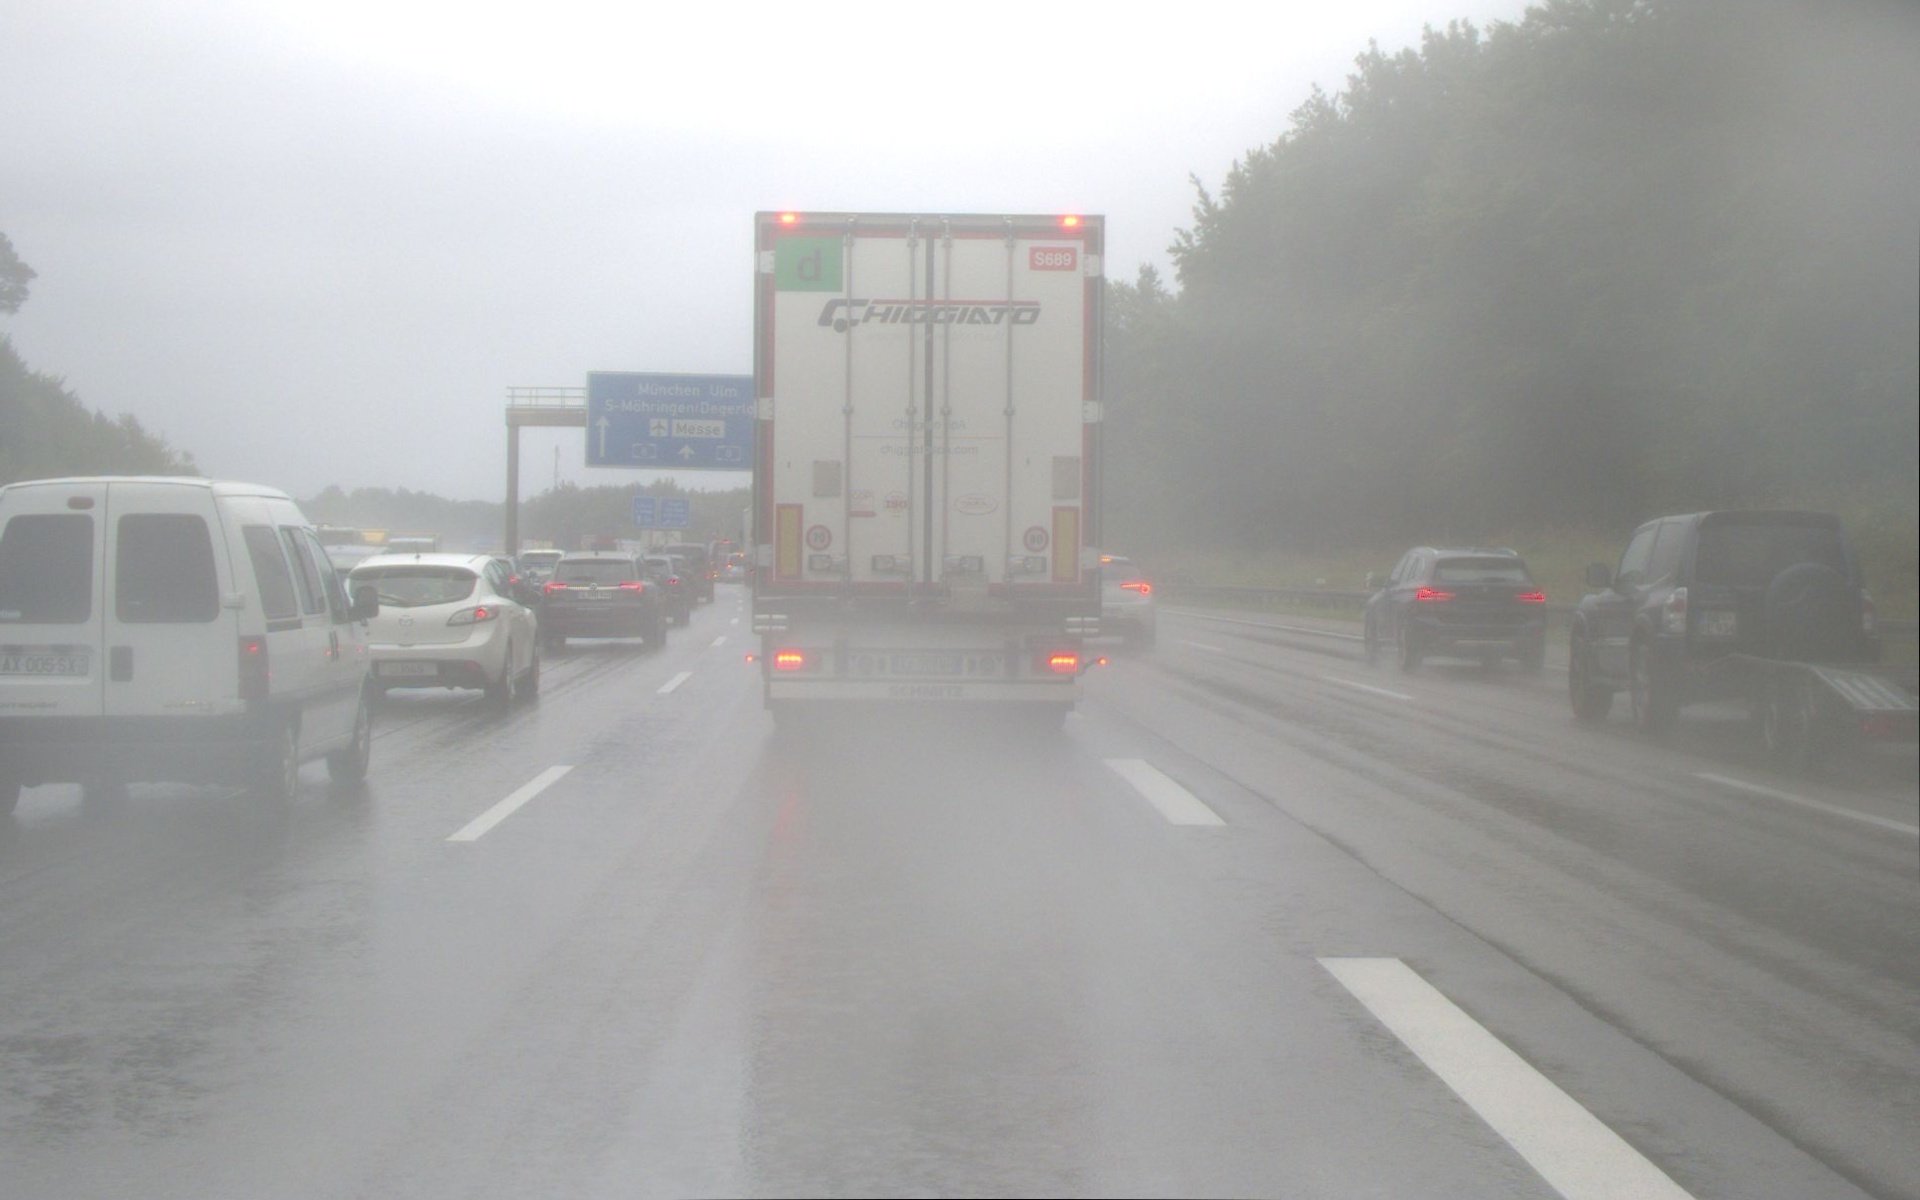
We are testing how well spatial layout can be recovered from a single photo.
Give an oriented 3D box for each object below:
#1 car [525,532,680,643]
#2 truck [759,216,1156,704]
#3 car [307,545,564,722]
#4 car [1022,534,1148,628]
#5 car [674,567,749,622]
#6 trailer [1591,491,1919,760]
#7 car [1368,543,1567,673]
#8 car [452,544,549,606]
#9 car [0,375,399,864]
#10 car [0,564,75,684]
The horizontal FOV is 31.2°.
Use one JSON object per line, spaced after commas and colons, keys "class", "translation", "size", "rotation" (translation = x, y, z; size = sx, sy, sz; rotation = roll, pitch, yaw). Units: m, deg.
{"class": "car", "translation": [-5.393, -0.230, 52.313], "size": [1.845, 1.586, 4.467], "rotation": [1, 1, 1]}
{"class": "truck", "translation": [-0.062, -1.079, 30.866], "size": [2.872, 3.550, 11.302], "rotation": [1, 0, 0]}
{"class": "car", "translation": [-5.049, 0.272, 33.585], "size": [1.845, 1.586, 4.072], "rotation": [1, 1, 1]}
{"class": "car", "translation": [1.969, -0.337, 55.176], "size": [1.890, 1.420, 4.483], "rotation": [1, 1, 1]}
{"class": "car", "translation": [-6.490, -0.167, 90.054], "size": [1.845, 1.326, 4.467], "rotation": [1, 1, -3]}
{"class": "trailer", "translation": [5.968, 0.118, 24.573], "size": [2.243, 1.709, 5.082], "rotation": [1, 1, 3]}
{"class": "car", "translation": [6.584, 0.057, 45.078], "size": [1.990, 1.578, 4.767], "rotation": [1, 1, 1]}
{"class": "car", "translation": [-10.483, -0.591, 78.666], "size": [1.845, 1.326, 4.467], "rotation": [1, 1, -3]}
{"class": "car", "translation": [-4.743, 0.052, 20.593], "size": [2.212, 2.564, 5.016], "rotation": [1, 1, -3]}
{"class": "car", "translation": [-13.752, 0.332, 47.258], "size": [2.090, 1.499, 4.755], "rotation": [-2, 2, -3]}
